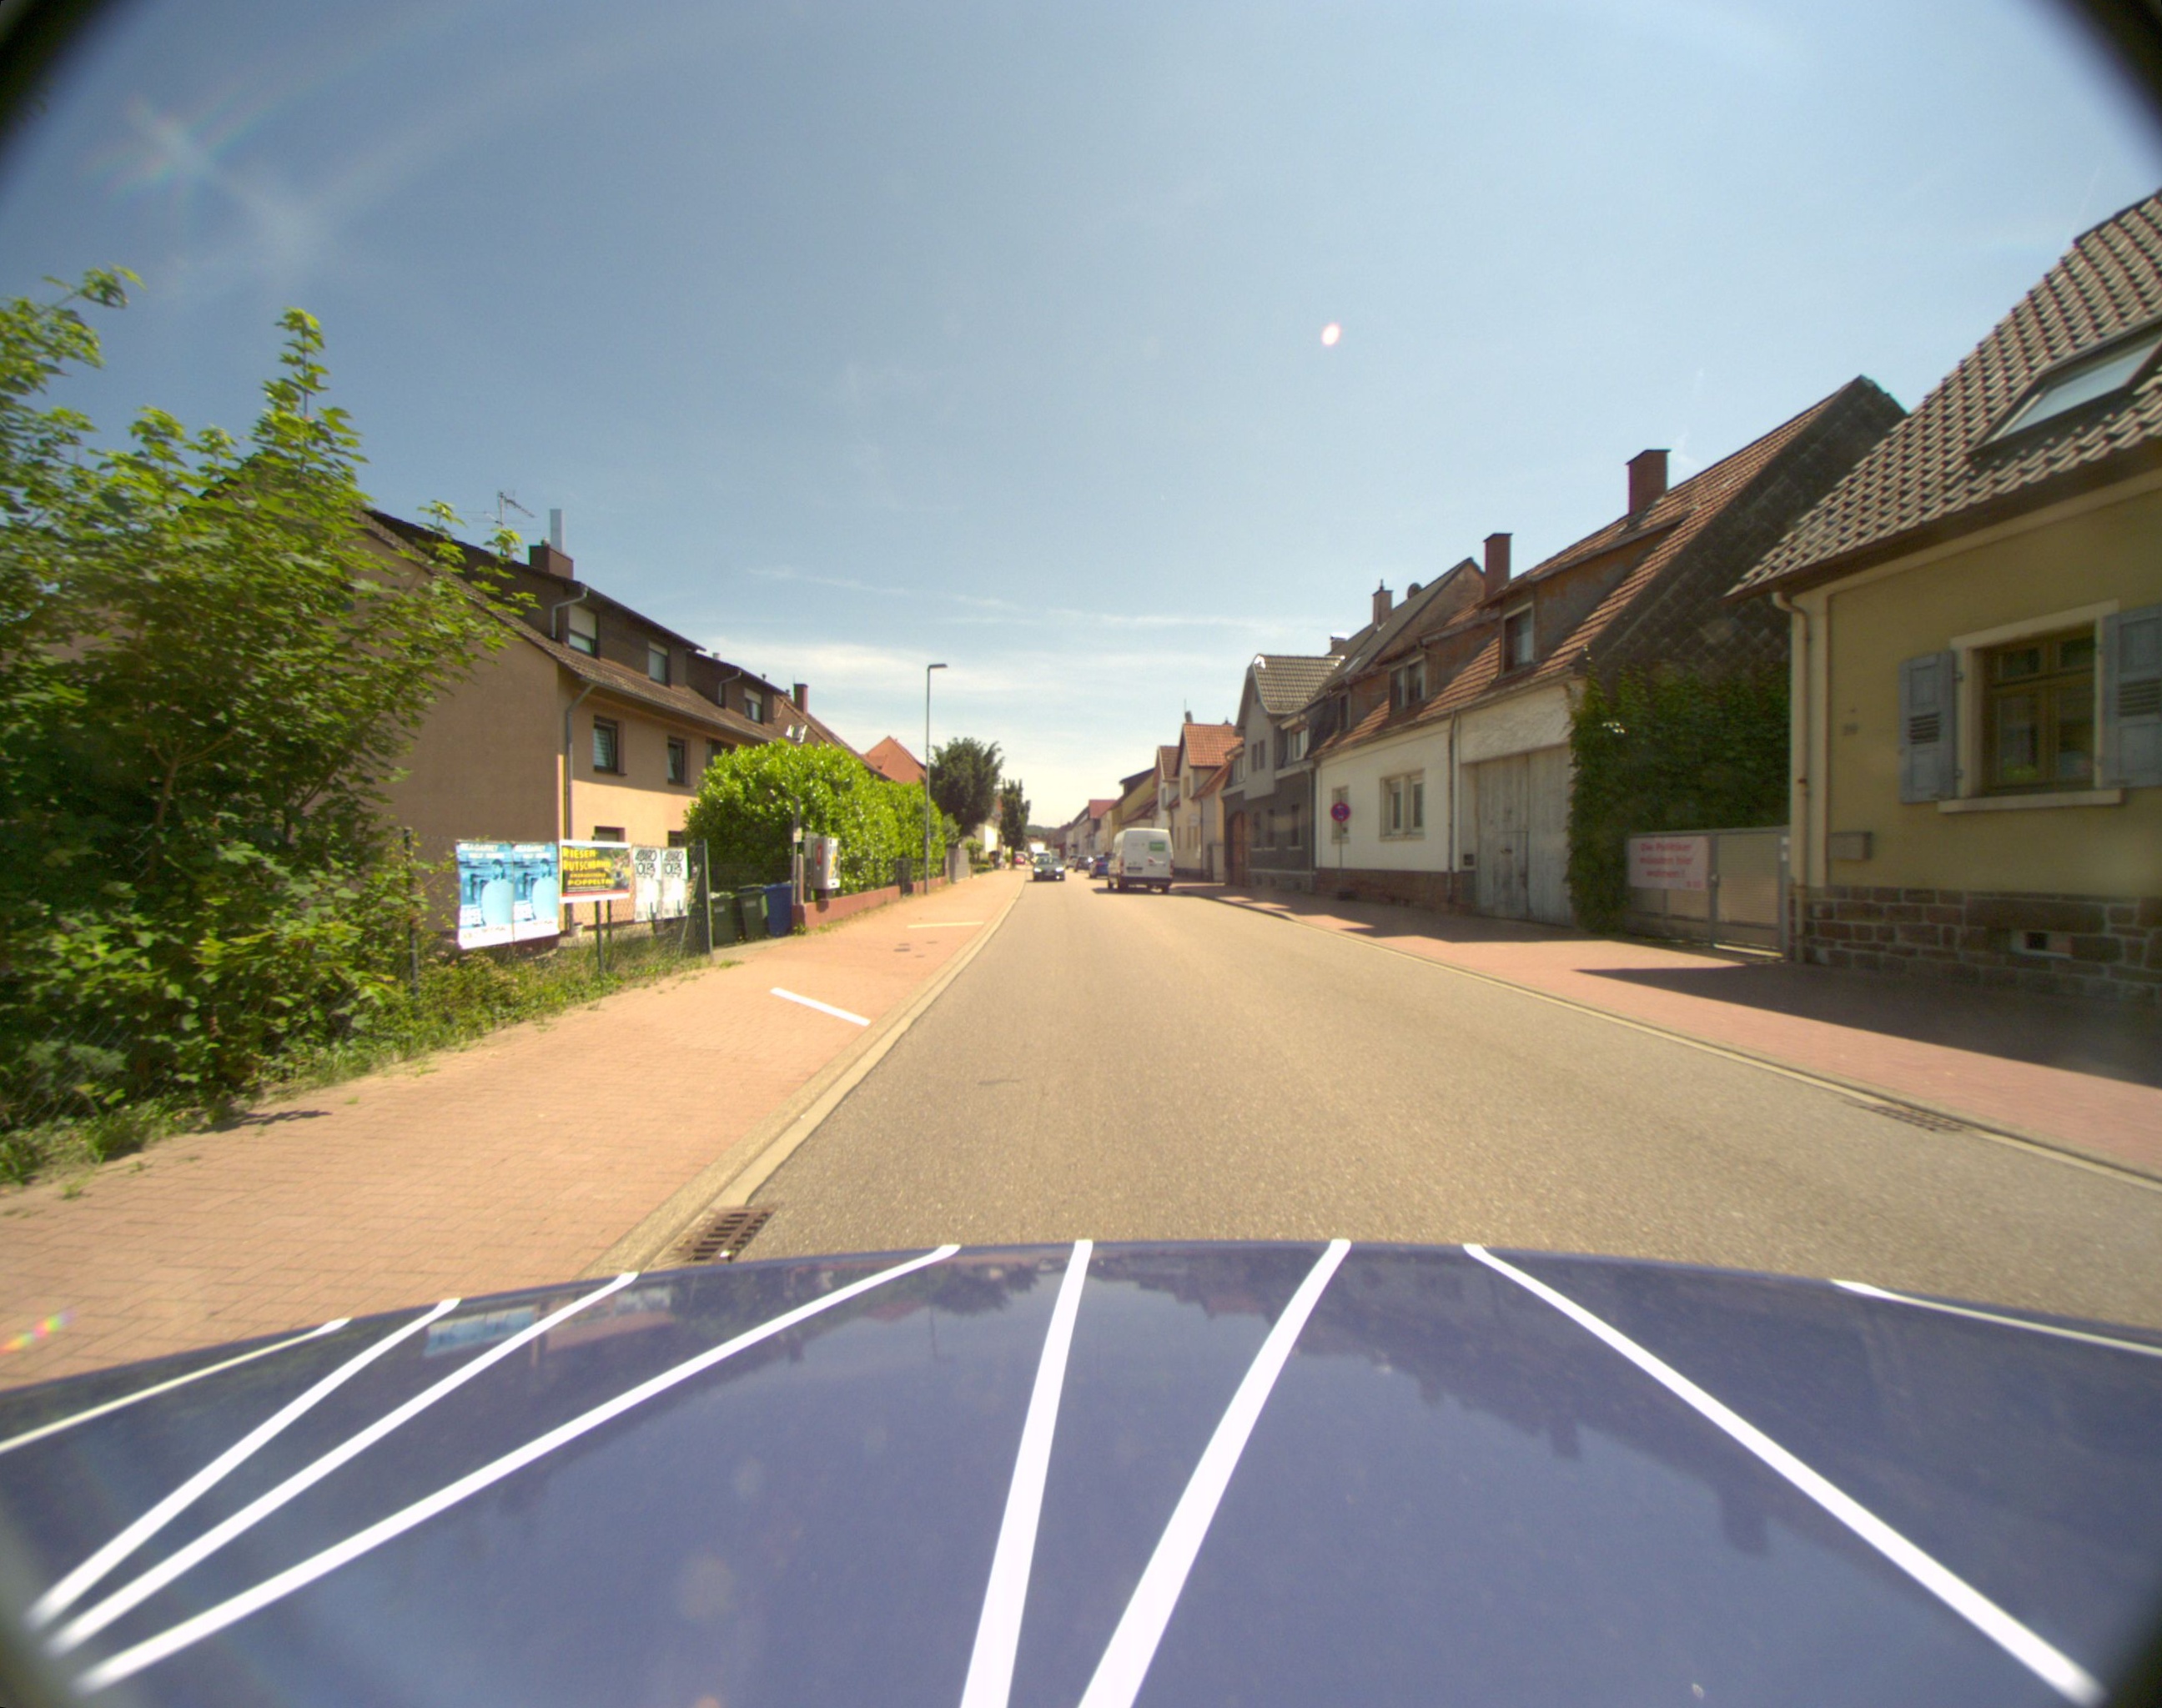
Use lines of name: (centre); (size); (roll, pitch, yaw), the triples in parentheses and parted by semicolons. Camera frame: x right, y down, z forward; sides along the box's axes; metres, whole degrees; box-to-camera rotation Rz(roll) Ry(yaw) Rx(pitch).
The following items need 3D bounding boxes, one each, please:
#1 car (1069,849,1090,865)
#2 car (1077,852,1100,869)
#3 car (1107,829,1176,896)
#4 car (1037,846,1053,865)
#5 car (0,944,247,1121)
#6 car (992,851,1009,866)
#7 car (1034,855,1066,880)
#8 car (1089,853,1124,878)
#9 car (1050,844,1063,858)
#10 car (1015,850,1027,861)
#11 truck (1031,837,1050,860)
car: (-0.228, 0.335, 82.076); (1.879, 1.594, 4.429); (1, 0, -5)
car: (0.609, 0.566, 66.354); (1.681, 1.450, 3.926); (1, 0, -5)
car: (2.366, 0.303, 31.445); (2.035, 2.446, 6.066); (2, 0, -3)
car: (-3.626, 0.151, 77.004); (1.637, 1.833, 3.569); (0, 0, -2)
car: (-11.773, 2.072, 8.131); (1.496, 1.465, 3.569); (-9, 2, 0)
car: (-9.183, 0.509, 87.178); (1.509, 1.521, 4.435); (-2, 0, -1)
car: (-1.826, 0.741, 43.519); (1.706, 1.346, 3.998); (-2, 0, -3)
car: (1.520, 0.666, 47.178); (1.650, 1.445, 4.399); (-2, 0, -4)
car: (-4.535, -0.486, 141.776); (2.116, 2.517, 4.912); (2, 0, -5)
car: (-9.136, 0.217, 116.118); (1.637, 1.572, 3.568); (1, 0, -3)
truck: (-6.777, -0.901, 125.823); (2.899, 3.516, 12.948); (0, 0, -3)
